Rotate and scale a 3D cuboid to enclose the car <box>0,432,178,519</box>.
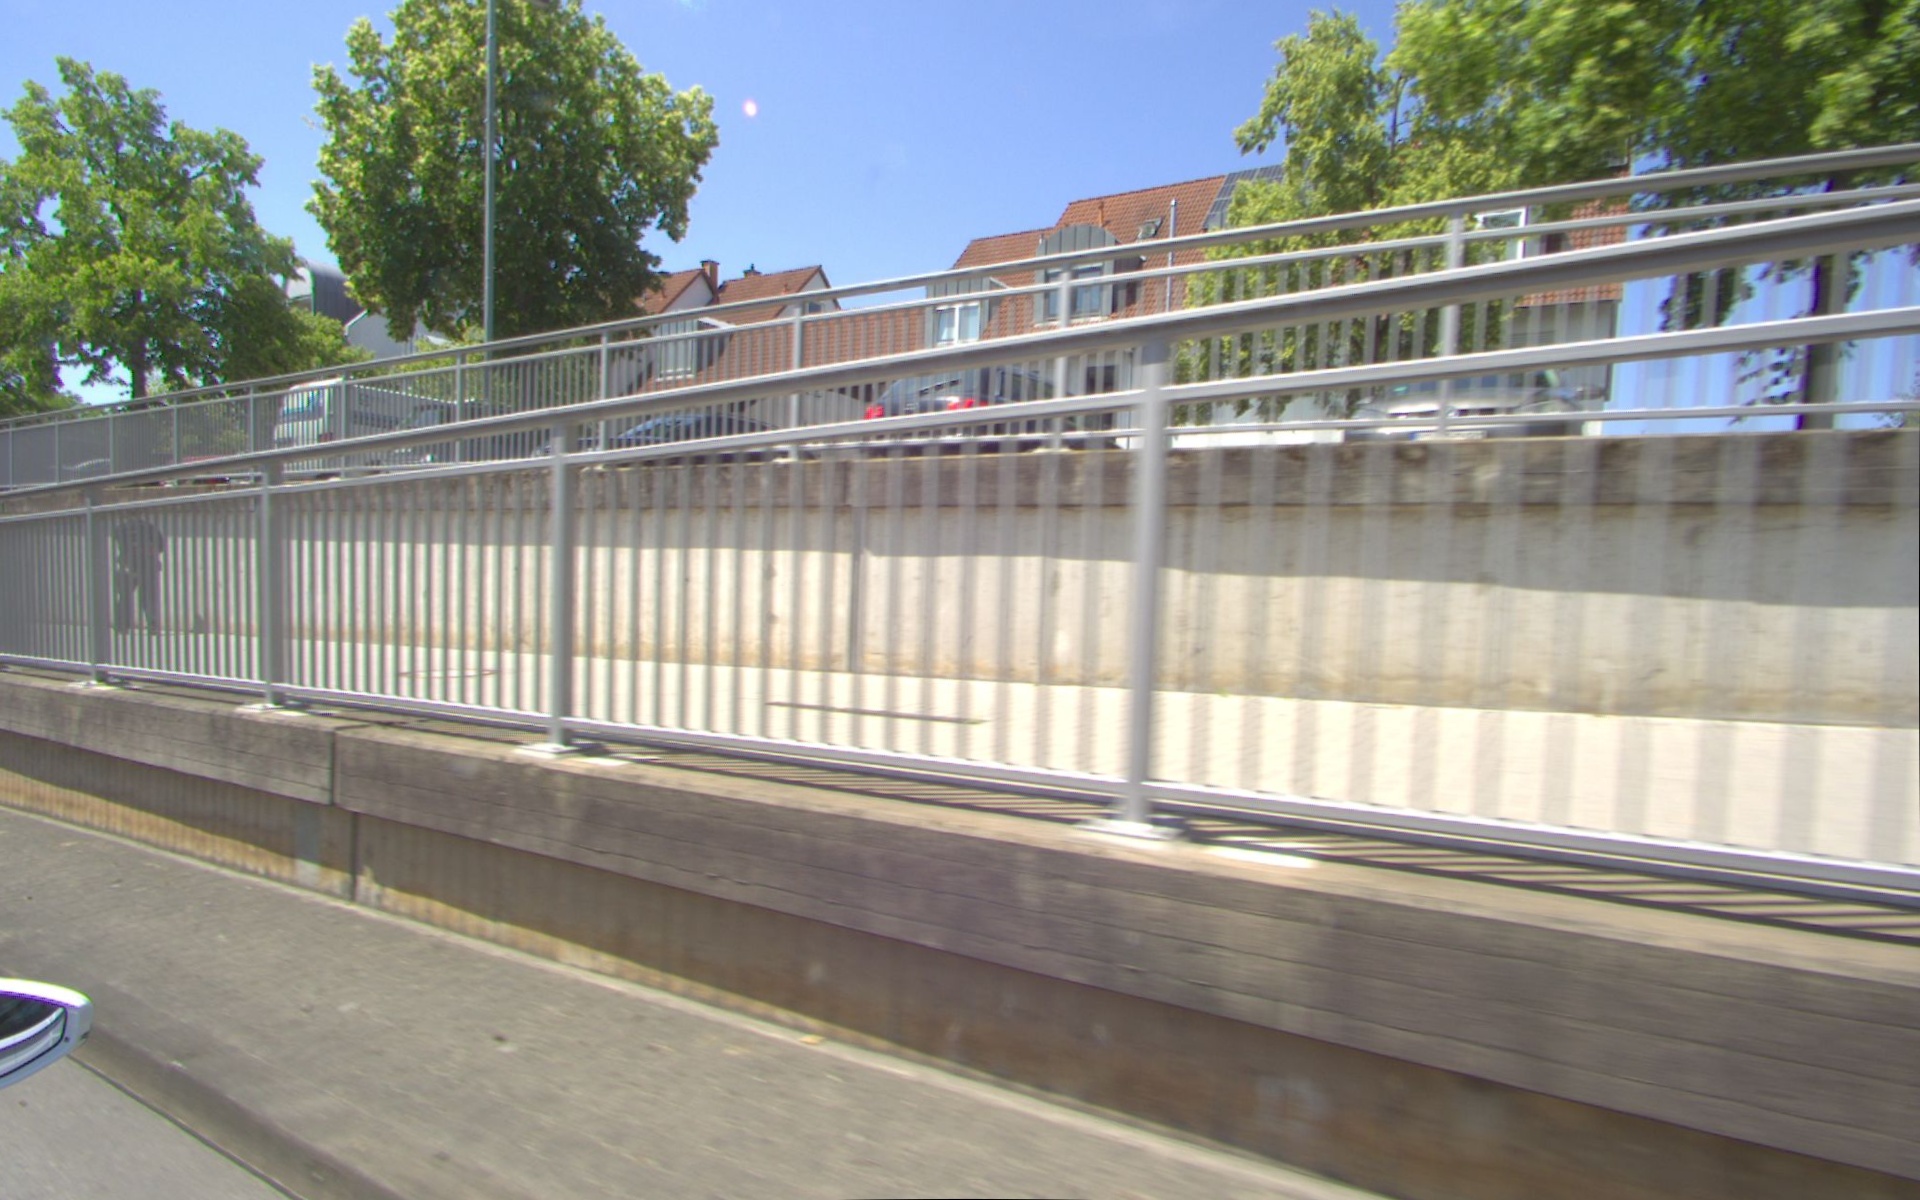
[{"bbox_3d":[-23.437,-3.231,26.591,1.662,1.911,3.896,3,2,33],"label":"car"}]

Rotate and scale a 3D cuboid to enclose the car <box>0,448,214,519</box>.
[{"bbox_3d":[-21.444,-2.865,25.258,1.662,1.386,3.896,3,2,33],"label":"car"}]

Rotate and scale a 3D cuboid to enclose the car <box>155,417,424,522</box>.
[{"bbox_3d":[-13.328,-2.514,20.151,1.662,1.618,4.194,3,2,33],"label":"car"}]

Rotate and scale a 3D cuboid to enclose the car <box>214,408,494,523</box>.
[{"bbox_3d":[-11.178,-2.390,18.750,1.662,1.618,4.194,3,2,33],"label":"car"}]

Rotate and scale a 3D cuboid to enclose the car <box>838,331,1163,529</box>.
[{"bbox_3d":[0.654,-1.674,11.153,1.662,1.519,4.194,3,2,33],"label":"car"}]

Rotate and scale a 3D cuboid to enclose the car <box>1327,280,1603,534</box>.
[{"bbox_3d":[4.710,-1.470,9.026,1.723,1.519,3.977,3,2,33],"label":"car"}]

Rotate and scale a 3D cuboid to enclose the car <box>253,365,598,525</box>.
[{"bbox_3d":[-9.206,-2.532,17.745,1.960,2.092,5.099,3,2,33],"label":"car"}]

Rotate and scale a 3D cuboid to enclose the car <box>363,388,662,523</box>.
[{"bbox_3d":[-7.051,-2.187,16.195,1.662,1.618,4.194,3,2,33],"label":"car"}]

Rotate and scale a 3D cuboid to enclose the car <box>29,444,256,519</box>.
[{"bbox_3d":[-19.423,-2.756,23.954,1.662,1.386,3.896,3,2,33],"label":"car"}]

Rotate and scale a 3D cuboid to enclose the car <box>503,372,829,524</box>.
[{"bbox_3d":[-3.916,-1.962,14.044,1.723,1.519,4.275,3,2,33],"label":"car"}]

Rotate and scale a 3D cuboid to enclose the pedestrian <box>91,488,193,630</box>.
[{"bbox_3d":[-10.874,-0.525,13.317,0.777,1.806,0.834,1,1,33],"label":"pedestrian"}]
